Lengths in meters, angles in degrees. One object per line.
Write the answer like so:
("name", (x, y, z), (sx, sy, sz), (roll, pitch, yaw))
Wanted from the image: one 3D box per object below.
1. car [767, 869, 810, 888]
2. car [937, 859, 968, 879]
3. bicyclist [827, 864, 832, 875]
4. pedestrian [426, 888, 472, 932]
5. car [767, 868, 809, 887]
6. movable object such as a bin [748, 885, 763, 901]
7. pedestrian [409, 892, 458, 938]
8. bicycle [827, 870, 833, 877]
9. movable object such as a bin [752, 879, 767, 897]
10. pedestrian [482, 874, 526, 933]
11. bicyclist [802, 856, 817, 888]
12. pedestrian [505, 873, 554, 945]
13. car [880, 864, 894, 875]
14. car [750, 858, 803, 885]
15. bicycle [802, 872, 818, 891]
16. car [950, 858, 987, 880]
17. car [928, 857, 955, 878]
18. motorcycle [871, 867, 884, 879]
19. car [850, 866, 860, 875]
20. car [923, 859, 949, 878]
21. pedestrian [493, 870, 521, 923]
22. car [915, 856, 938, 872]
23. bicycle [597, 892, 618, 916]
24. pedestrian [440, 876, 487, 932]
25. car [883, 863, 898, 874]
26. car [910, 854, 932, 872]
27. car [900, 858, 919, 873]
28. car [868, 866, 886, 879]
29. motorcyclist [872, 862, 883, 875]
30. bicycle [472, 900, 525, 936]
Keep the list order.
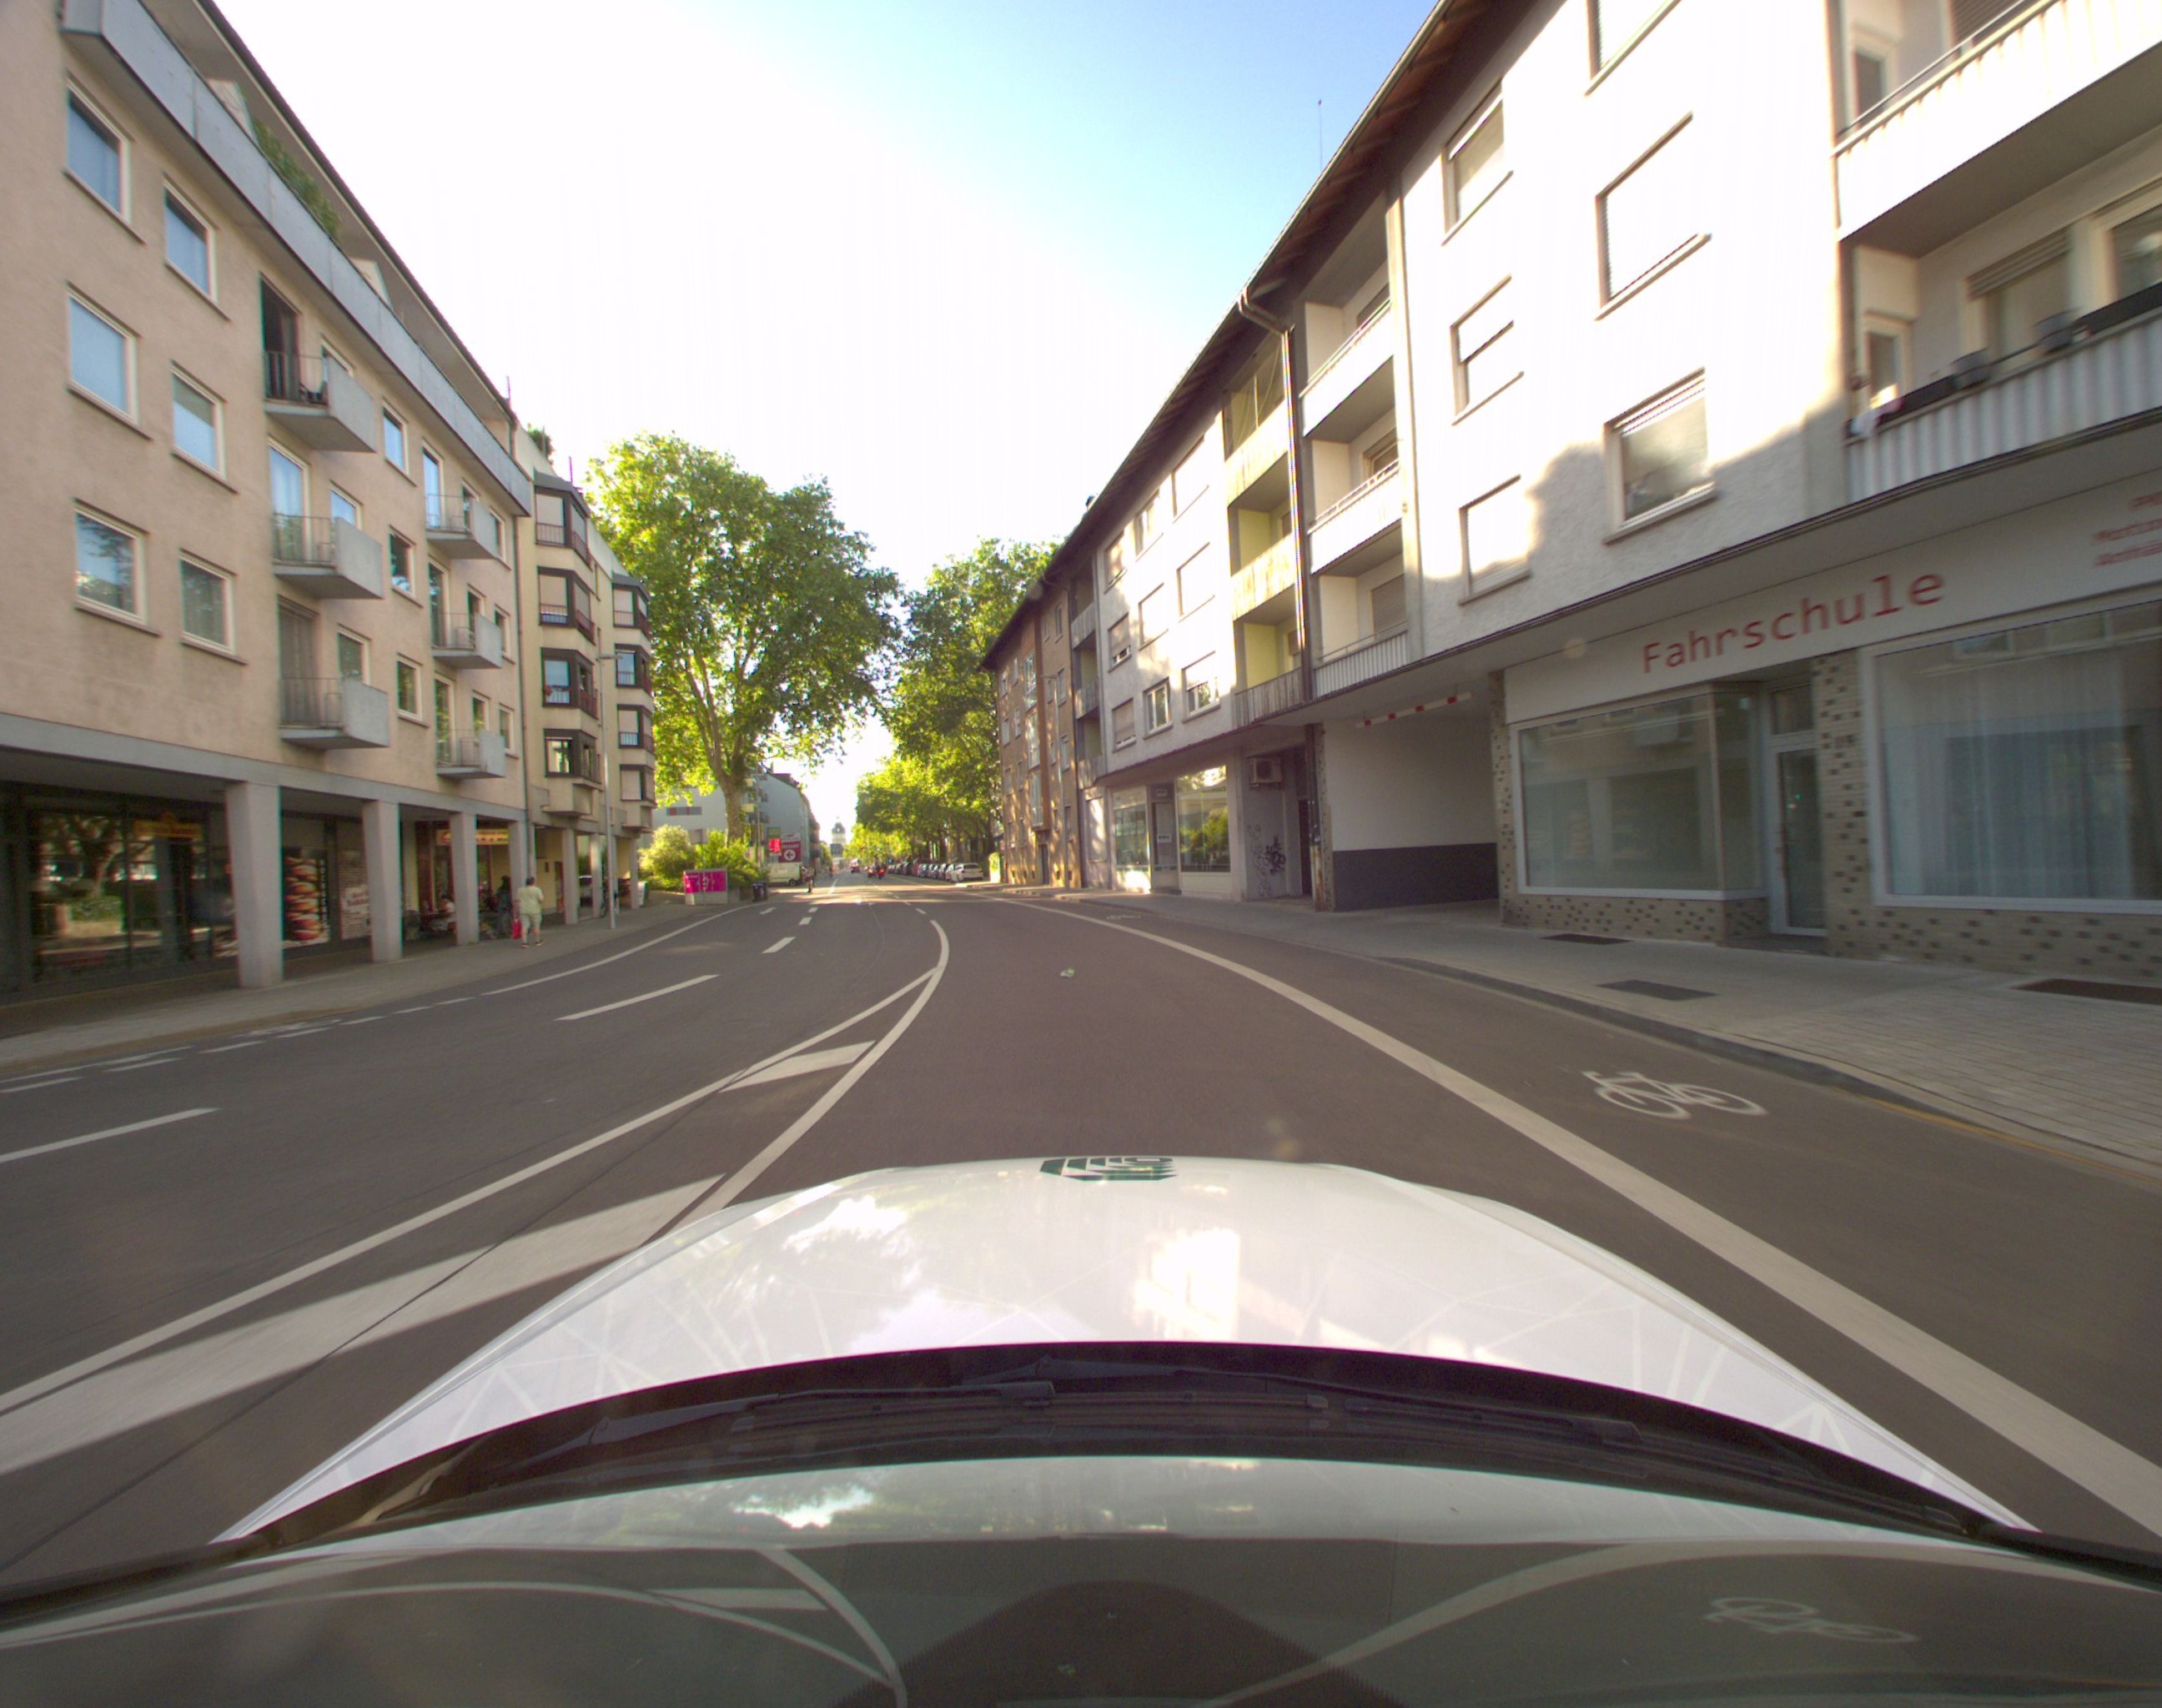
("car", (-29.235, 2.441, 81.478), (4.000, 1.596, 1.987), (-3, 0, -19))
("car", (-11.298, 1.318, 71.335), (2.038, 1.617, 4.070), (-3, 0, -17))
("bicyclist", (-32.750, 2.023, 106.185), (0.543, 1.394, 0.505), (-3, -1, -22))
("pedestrian", (-19.416, 1.698, 25.044), (0.833, 1.265, 0.850), (-2, -1, -16))
("car", (-30.141, 2.396, 83.906), (4.000, 1.743, 1.987), (-3, 0, -19))
("movable object such as a bin", (-17.396, 2.082, 43.476), (0.687, 0.852, 0.576), (-1, 0, -17))
("pedestrian", (-19.034, 1.785, 23.975), (0.833, 1.265, 0.850), (-2, -1, -16))
("bicycle", (-32.714, 2.520, 106.146), (0.543, 0.843, 1.593), (-3, 0, -22))
("movable object such as a bin", (-17.788, 1.873, 45.081), (0.704, 0.965, 0.593), (-1, 0, -17))
("pedestrian", (-17.579, 1.480, 24.837), (0.855, 1.724, 0.829), (-2, -1, -20))
("bicyclist", (-17.254, 1.152, 51.759), (0.818, 1.947, 0.851), (-3, 0, -21))
("pedestrian", (-13.684, 1.340, 20.226), (0.808, 1.724, 0.771), (-2, -1, -20))
("car", (-33.196, 2.582, 138.986), (2.038, 1.742, 4.070), (-3, 0, -17))
("car", (-27.411, 1.562, 73.527), (4.317, 2.226, 1.987), (-3, 0, -20))
("bicycle", (-17.208, 1.732, 51.709), (0.818, 1.139, 2.322), (-3, 0, -21))
("car", (-8.389, 1.120, 60.504), (2.038, 1.504, 4.070), (-3, 0, -17))
("car", (-13.225, 1.282, 77.053), (2.038, 1.759, 4.070), (-3, 0, -17))
("motorcycle", (-21.231, 1.949, 84.954), (0.976, 1.131, 2.787), (-1, 0, -19))
("car", (-48.668, 3.586, 175.451), (2.038, 1.742, 4.070), (-3, 0, -17))
("car", (-14.780, 1.490, 82.957), (2.038, 1.719, 4.070), (-3, 0, -17))
("pedestrian", (-20.086, 1.485, 28.497), (0.615, 1.795, 0.651), (-2, -1, -20))
("car", (-17.419, 1.111, 91.461), (2.038, 1.719, 4.070), (-3, 0, -17))
("bicycle", (-18.670, 1.956, 32.125), (0.390, 0.878, 1.602), (0, -1, -18))
("pedestrian", (-19.721, 1.577, 26.030), (0.830, 1.724, 0.853), (-2, -1, -4))
("car", (-31.015, 2.356, 132.390), (2.038, 1.742, 4.070), (-3, 0, -17))
("car", (-18.744, 1.020, 95.467), (2.038, 1.934, 4.070), (-3, 0, -17))
("car", (-22.465, 1.490, 106.359), (2.038, 1.742, 4.070), (-3, 0, -17))
("car", (-24.727, 2.228, 98.694), (1.925, 1.388, 3.982), (-2, 0, -13))
("motorcyclist", (-21.172, 1.489, 84.879), (0.973, 1.347, 1.130), (-1, 0, -20))
("bicycle", (-16.553, 1.796, 23.183), (0.634, 0.884, 1.609), (-3, 0, -13))
